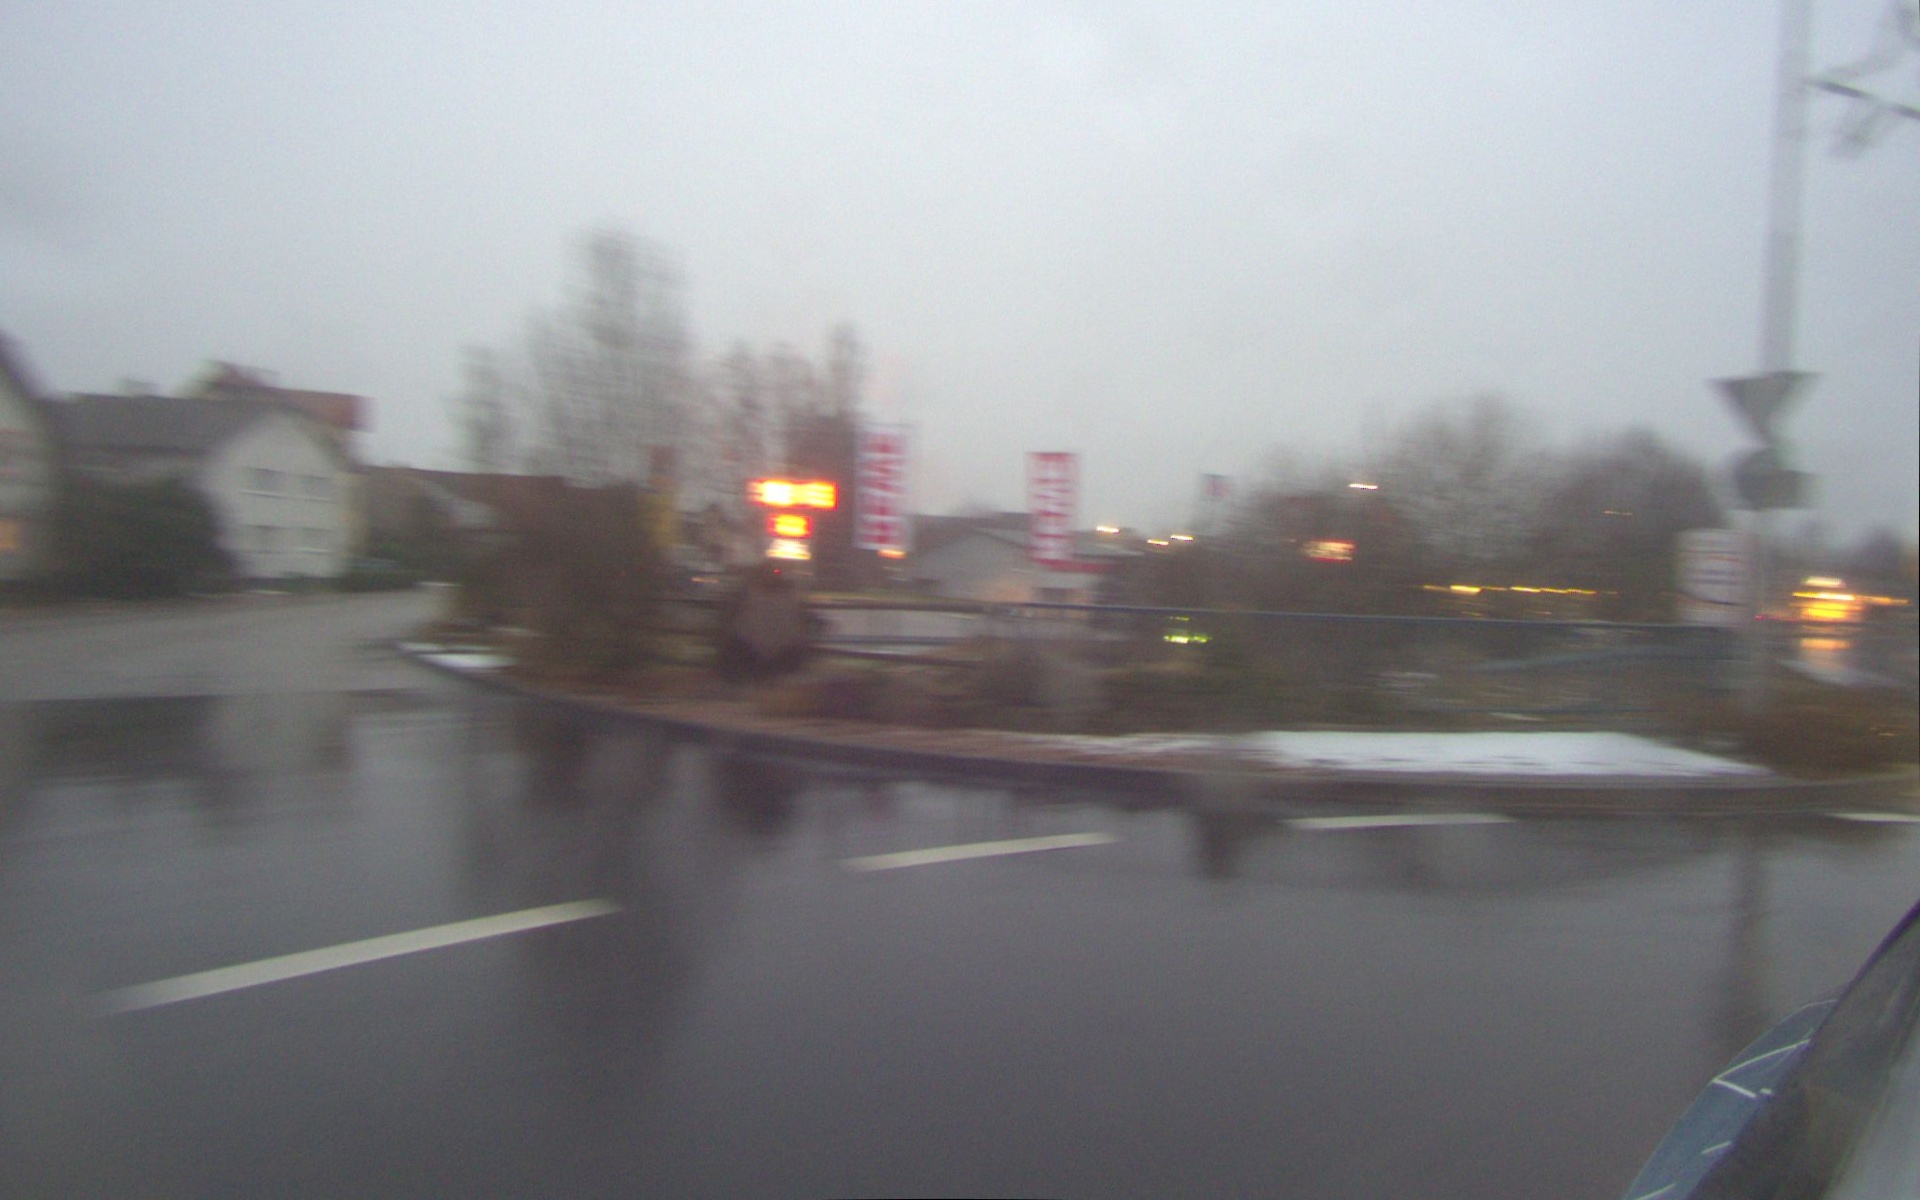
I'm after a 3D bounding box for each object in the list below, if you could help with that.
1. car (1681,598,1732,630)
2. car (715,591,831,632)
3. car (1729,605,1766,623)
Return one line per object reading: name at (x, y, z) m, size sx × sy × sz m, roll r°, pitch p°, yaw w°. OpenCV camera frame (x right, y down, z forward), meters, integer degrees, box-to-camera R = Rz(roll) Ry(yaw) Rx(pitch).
car at (67.033, 1.225, 90.962) m, size 2.255 × 2.469 × 5.204 m, roll 4°, pitch 3°, yaw 21°
car at (-6.844, 0.392, 37.118) m, size 3.872 × 1.420 × 1.614 m, roll 0°, pitch 2°, yaw -30°
car at (72.916, 1.283, 93.759) m, size 1.697 × 1.429 × 3.981 m, roll 4°, pitch 4°, yaw 24°
